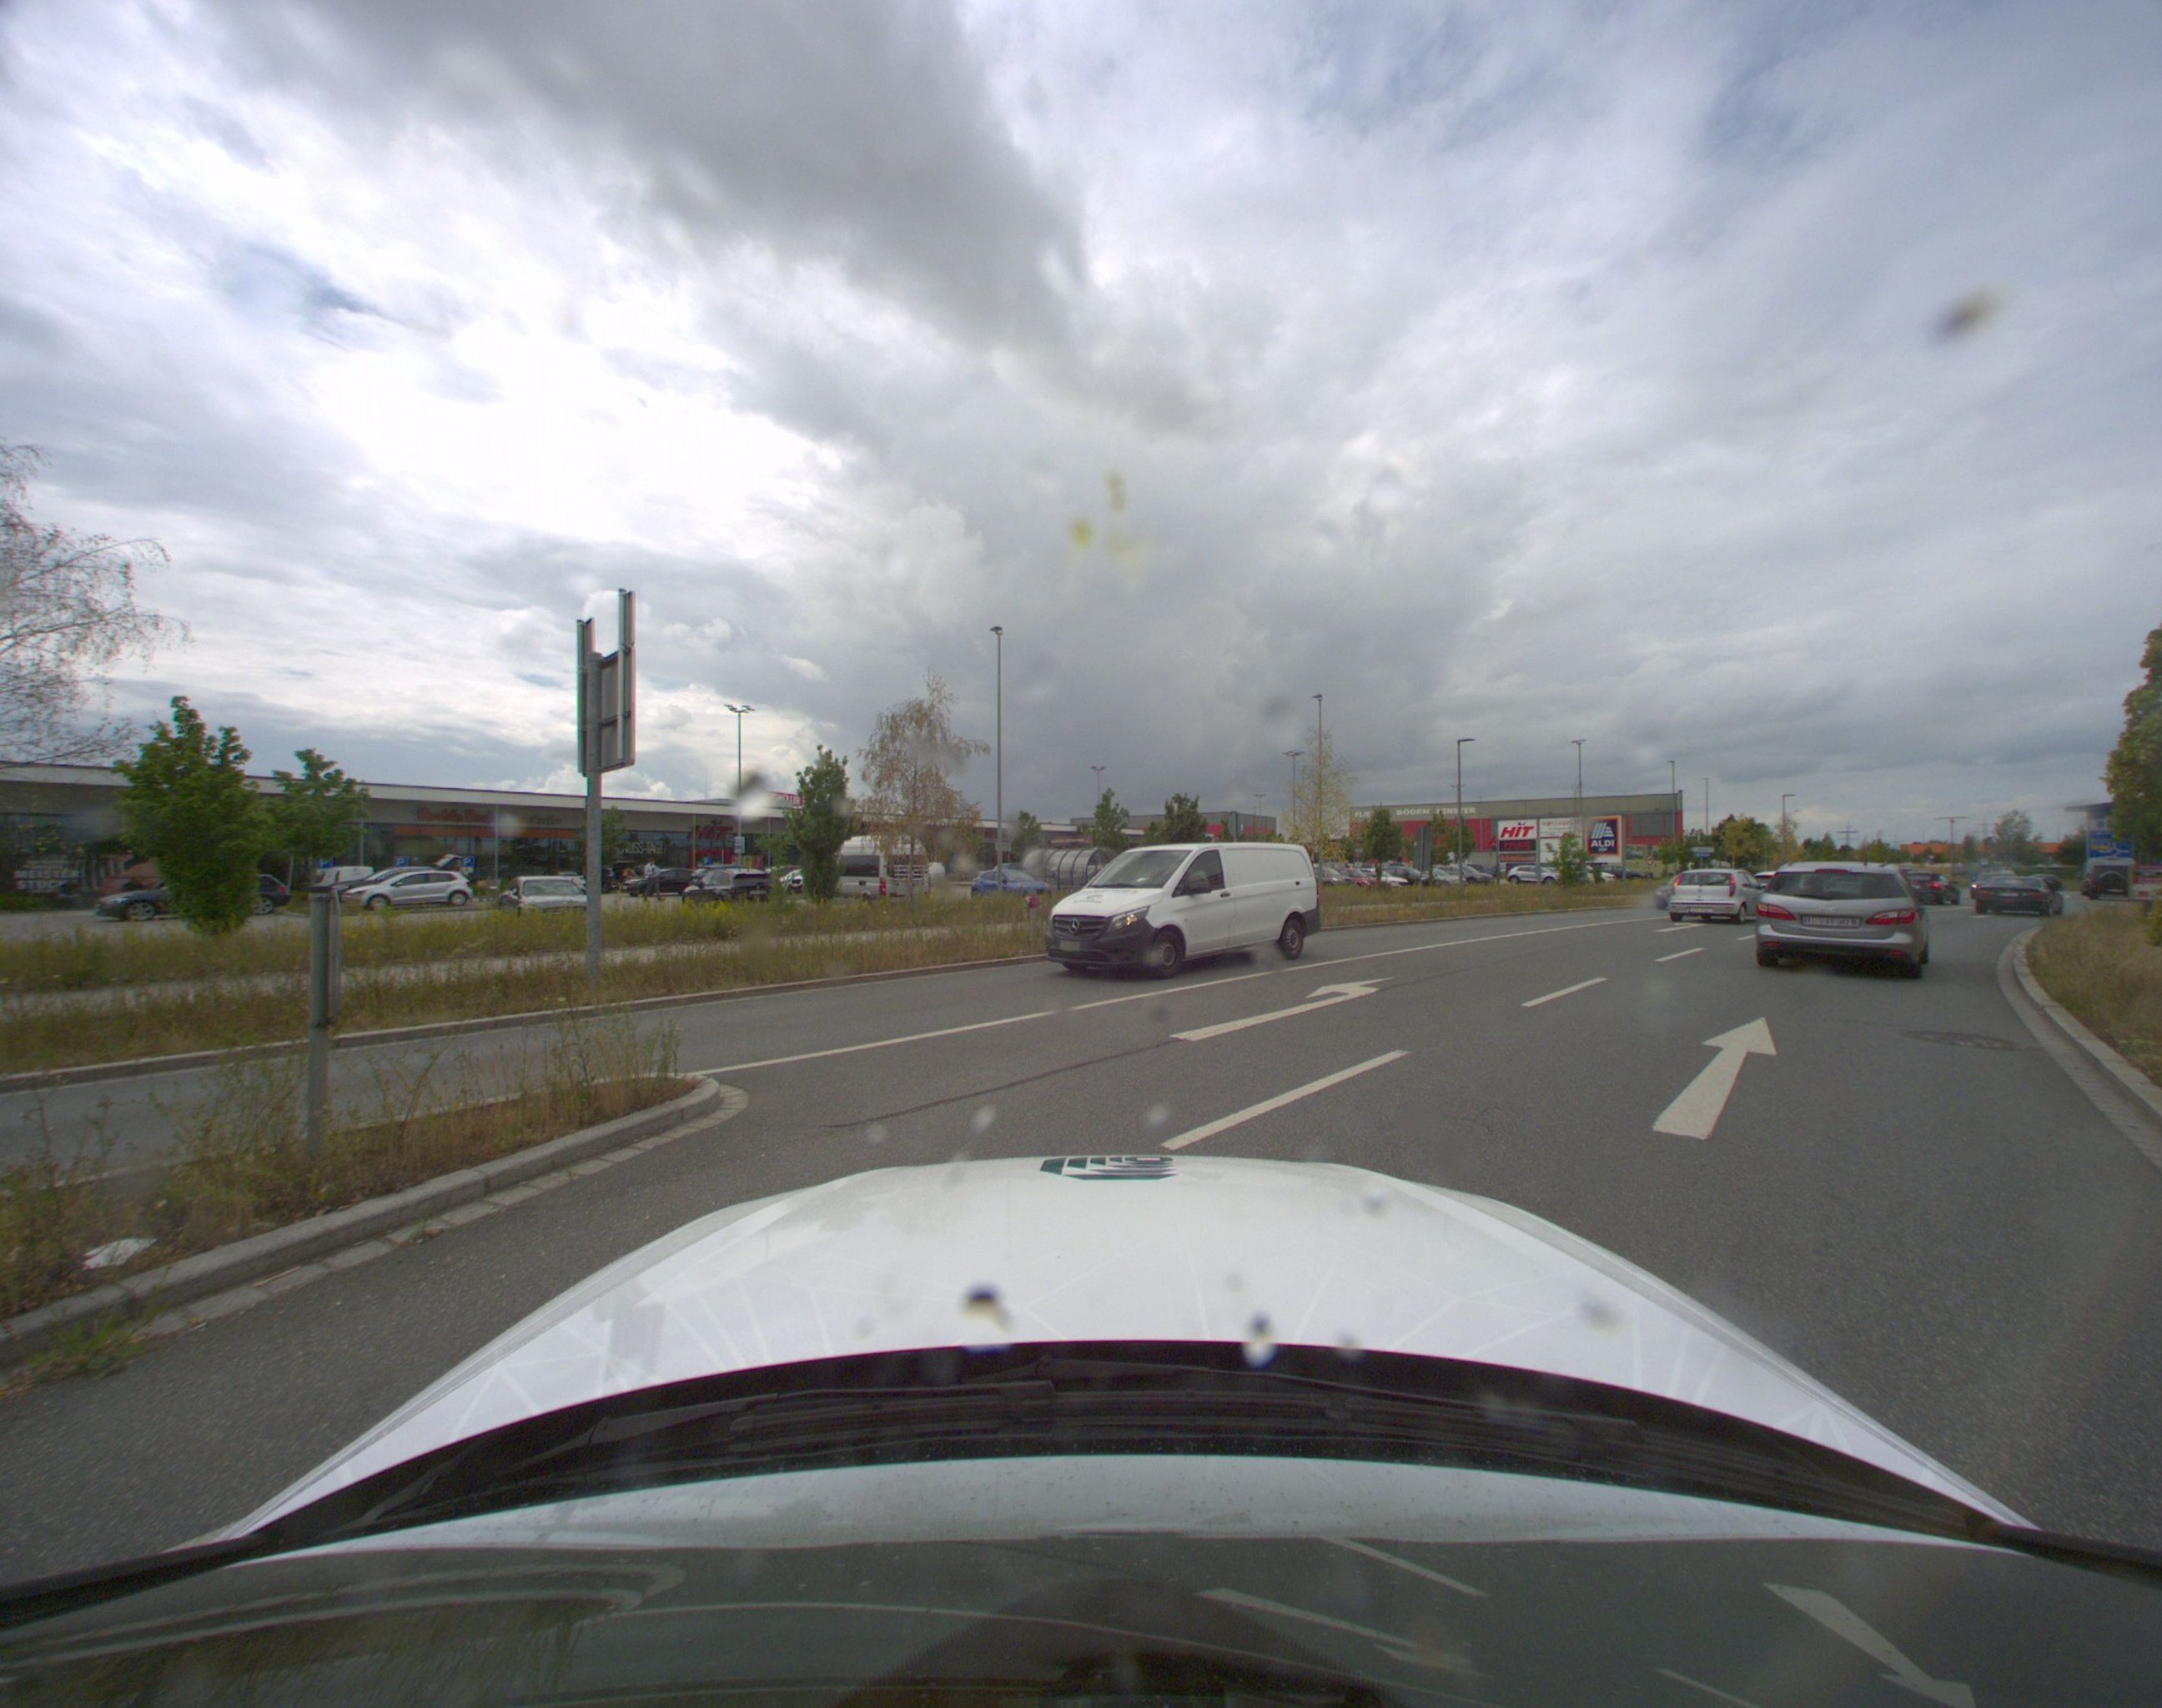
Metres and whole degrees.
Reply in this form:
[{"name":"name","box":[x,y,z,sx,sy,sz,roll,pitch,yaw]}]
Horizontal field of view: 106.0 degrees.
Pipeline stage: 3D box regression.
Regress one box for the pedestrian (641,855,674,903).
[{"name":"pedestrian","box":[-18.135,1.063,34.847,0.857,2.014,1.009,-1,-2,45]}]

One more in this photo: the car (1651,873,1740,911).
[{"name":"car","box":[24.065,1.462,31.866,4.169,1.384,1.754,2,-2,-38]}]

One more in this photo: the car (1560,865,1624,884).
[{"name":"car","box":[41.361,1.664,65.967,2.010,1.442,3.952,2,-3,-41]}]

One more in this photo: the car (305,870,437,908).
[{"name":"car","box":[-29.122,1.386,33.494,1.646,1.454,3.782,-1,-2,37]}]

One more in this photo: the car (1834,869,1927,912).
[{"name":"car","box":[30.739,1.344,31.257,4.906,1.508,1.790,1,-1,-37]}]

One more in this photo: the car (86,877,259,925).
[{"name":"car","box":[-29.945,1.491,26.939,1.646,1.454,3.641,-1,-1,36]}]

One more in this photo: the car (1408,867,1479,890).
[{"name":"car","box":[23.667,1.569,53.268,1.924,1.390,3.769,1,-1,-41]}]

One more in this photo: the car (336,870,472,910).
[{"name":"car","box":[-26.479,1.379,31.967,1.646,1.454,3.782,-1,-2,37]}]

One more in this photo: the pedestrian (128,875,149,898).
[{"name":"pedestrian","box":[-46.957,1.636,40.572,0.554,1.124,0.581,-1,-2,33]}]

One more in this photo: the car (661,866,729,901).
[{"name":"car","box":[-19.017,1.400,40.065,1.830,1.653,3.950,1,-2,-45]}]

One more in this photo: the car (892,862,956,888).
[{"name":"car","box":[-11.234,1.516,58.511,1.974,1.819,4.456,-1,-2,34]}]

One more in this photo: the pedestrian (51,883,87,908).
[{"name":"pedestrian","box":[-48.633,1.966,39.140,1.118,1.154,0.980,-1,-2,35]}]

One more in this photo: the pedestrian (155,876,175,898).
[{"name":"pedestrian","box":[-45.659,1.638,40.590,0.554,1.124,0.581,-1,-2,33]}]

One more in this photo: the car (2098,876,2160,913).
[{"name":"car","box":[58.476,2.259,45.410,4.868,1.924,1.978,2,-2,-36]}]

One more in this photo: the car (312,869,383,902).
[{"name":"car","box":[-36.434,1.524,40.413,3.948,1.508,2.013,-1,-1,39]}]

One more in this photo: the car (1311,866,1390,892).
[{"name":"car","box":[15.156,1.375,45.958,1.924,1.390,3.769,1,-1,-41]}]

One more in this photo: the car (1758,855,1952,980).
[{"name":"car","box":[11.984,0.845,12.512,4.424,1.563,1.799,1,0,-42]}]

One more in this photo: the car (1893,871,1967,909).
[{"name":"car","box":[37.520,1.551,35.963,4.356,1.568,1.887,2,-2,-39]}]

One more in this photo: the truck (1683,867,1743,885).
[{"name":"truck","box":[106.448,3.715,137.338,2.367,2.917,7.626,1,-2,-37]}]

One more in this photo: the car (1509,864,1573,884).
[{"name":"car","box":[34.616,1.504,61.360,1.750,1.428,3.799,2,-2,-36]}]

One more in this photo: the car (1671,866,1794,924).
[{"name":"car","box":[17.983,1.080,22.432,3.834,1.461,1.780,1,-1,-38]}]

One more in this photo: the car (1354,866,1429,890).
[{"name":"car","box":[18.573,1.420,48.853,1.924,1.390,3.769,1,-1,-41]}]

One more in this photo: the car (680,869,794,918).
[{"name":"car","box":[-11.231,1.246,26.473,4.098,1.451,2.006,-2,-3,45]}]

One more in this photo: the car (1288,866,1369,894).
[{"name":"car","box":[13.444,1.383,44.332,1.924,1.390,3.769,1,-1,-41]}]

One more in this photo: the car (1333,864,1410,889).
[{"name":"car","box":[16.854,1.268,47.402,1.924,1.390,3.769,1,-1,-41]}]

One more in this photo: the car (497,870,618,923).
[{"name":"car","box":[-14.958,1.169,23.195,4.098,1.384,2.006,-2,-3,45]}]

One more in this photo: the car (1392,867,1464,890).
[{"name":"car","box":[22.051,1.523,51.834,1.924,1.390,3.769,1,-1,-41]}]

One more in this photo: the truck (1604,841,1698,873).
[{"name":"truck","box":[53.587,0.346,76.577,8.173,2.945,2.665,0,-1,-16]}]

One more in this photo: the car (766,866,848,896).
[{"name":"car","box":[-15.810,1.539,47.120,4.023,1.618,1.975,1,-2,-45]}]

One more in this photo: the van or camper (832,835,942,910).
[{"name":"van or camper","box":[-7.018,0.682,29.185,2.302,2.493,3.953,2,-3,-40]}]

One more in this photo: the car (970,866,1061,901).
[{"name":"car","box":[-2.843,1.245,34.535,1.819,1.384,4.101,2,-3,-40]}]

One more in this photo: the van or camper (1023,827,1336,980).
[{"name":"van or camper","box":[1.744,0.670,12.709,5.233,1.912,1.975,1,-2,-44]}]

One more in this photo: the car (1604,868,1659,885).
[{"name":"car","box":[47.340,1.935,70.079,3.793,1.428,1.753,-1,-2,38]}]

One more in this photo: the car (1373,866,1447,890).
[{"name":"car","box":[20.304,1.472,50.344,1.924,1.390,3.769,1,-1,-41]}]

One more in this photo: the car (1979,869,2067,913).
[{"name":"car","box":[32.693,1.239,28.236,4.321,1.386,1.739,1,-1,-37]}]

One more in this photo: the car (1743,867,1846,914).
[{"name":"car","box":[23.538,1.146,26.827,4.268,1.450,1.780,1,-1,-38]}]

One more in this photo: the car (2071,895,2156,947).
[{"name":"car","box":[36.916,2.331,29.105,3.520,1.677,1.667,1,-2,-35]}]

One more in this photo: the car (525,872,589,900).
[{"name":"car","box":[-30.885,1.856,47.988,3.948,1.508,2.012,-1,-2,39]}]

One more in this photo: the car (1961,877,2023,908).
[{"name":"car","box":[49.017,2.051,43.807,4.356,1.568,1.887,2,-2,-38]}]

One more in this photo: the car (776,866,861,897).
[{"name":"car","box":[-14.415,1.469,44.820,4.023,1.618,1.975,1,-2,-45]}]

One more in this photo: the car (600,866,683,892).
[{"name":"car","box":[-26.942,1.511,50.040,1.974,1.508,4.025,-1,-2,38]}]

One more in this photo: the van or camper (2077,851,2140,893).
[{"name":"van or camper","box":[66.709,1.202,52.838,6.191,2.542,2.172,2,-2,-35]}]
